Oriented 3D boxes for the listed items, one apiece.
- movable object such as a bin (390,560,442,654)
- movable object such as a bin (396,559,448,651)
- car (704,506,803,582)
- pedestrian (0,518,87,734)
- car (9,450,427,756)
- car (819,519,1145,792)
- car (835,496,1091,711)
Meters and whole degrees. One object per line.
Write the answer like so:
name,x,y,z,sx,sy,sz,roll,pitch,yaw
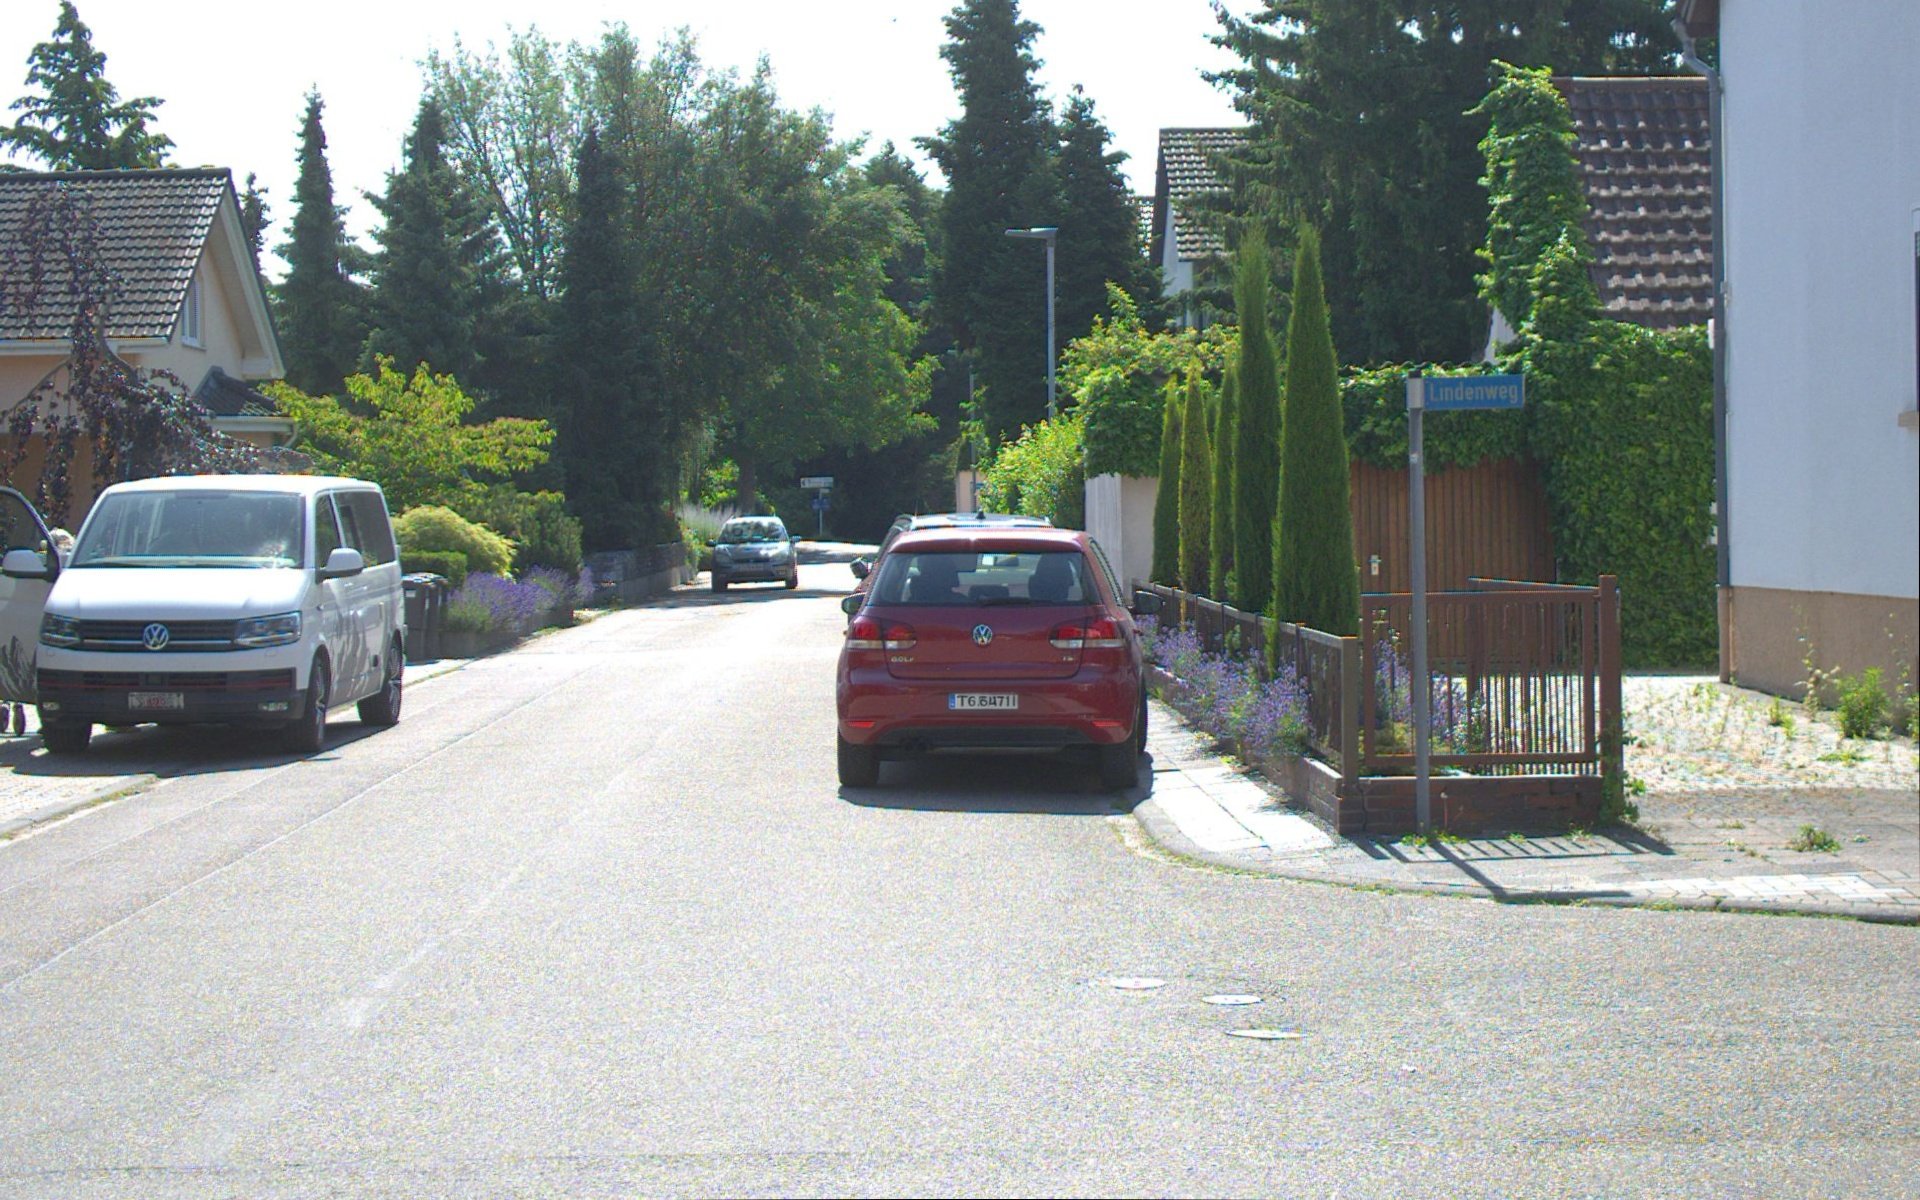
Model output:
movable object such as a bin,-6.078,0.074,38.405,0.494,1.021,0.447,-1,1,-1
movable object such as a bin,-6.080,0.054,38.881,0.494,1.021,0.447,-1,1,-1
car,-4.207,-1.177,70.598,1.752,1.482,4.376,-1,1,0
pedestrian,-6.863,0.173,25.042,0.718,1.533,0.641,1,2,33
car,-5.299,-0.040,25.252,1.929,2.007,4.896,-1,1,1
car,0.206,0.257,20.949,1.775,1.474,4.000,1,1,2
car,-0.046,-0.024,27.774,1.822,1.610,4.001,0,1,-3
